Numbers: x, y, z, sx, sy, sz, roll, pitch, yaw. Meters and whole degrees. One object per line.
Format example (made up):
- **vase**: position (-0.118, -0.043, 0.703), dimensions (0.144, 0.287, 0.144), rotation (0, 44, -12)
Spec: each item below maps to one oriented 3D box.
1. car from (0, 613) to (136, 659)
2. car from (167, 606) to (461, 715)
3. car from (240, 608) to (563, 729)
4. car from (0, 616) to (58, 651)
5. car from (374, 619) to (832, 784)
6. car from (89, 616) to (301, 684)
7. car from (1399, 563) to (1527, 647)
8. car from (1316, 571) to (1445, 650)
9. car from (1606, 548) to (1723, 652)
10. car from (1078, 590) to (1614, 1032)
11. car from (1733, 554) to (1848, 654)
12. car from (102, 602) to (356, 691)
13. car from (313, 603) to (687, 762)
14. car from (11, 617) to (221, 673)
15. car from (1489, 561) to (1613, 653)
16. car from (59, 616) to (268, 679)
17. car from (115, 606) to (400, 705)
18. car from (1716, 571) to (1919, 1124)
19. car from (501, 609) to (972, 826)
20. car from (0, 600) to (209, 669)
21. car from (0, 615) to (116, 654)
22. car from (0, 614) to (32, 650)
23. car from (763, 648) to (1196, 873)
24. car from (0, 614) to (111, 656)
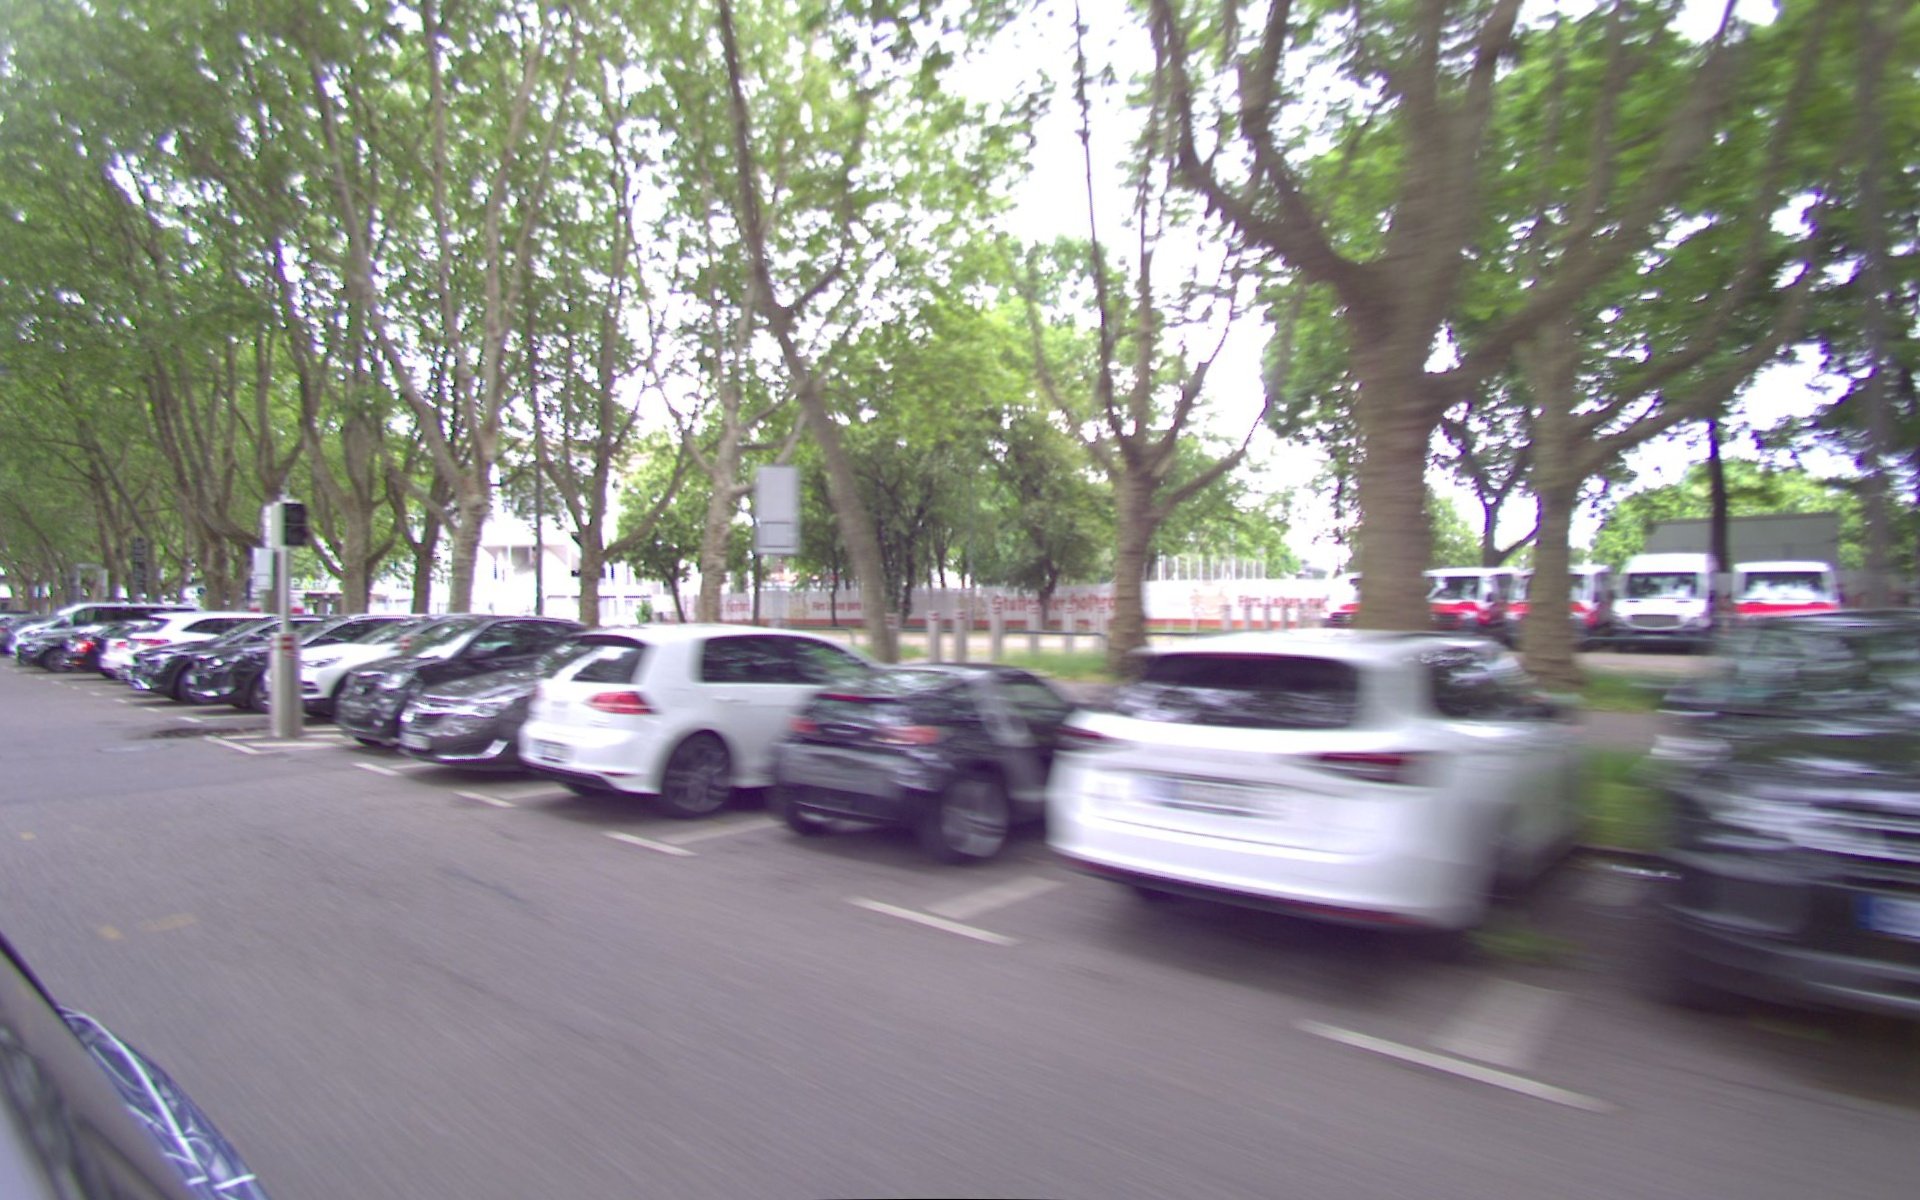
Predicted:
- **car**: position (-34.822, 1.402, 39.081), dimensions (1.998, 1.680, 4.297), rotation (-2, -4, 39)
- **car**: position (-10.809, 0.981, 17.150), dimensions (1.832, 1.620, 3.790), rotation (-2, -3, 38)
- **car**: position (-8.456, 0.978, 15.632), dimensions (1.692, 1.620, 4.005), rotation (-1, -2, 38)
- **car**: position (-45.023, 1.539, 47.033), dimensions (1.998, 1.609, 4.336), rotation (-2, -3, 39)
- **car**: position (-3.498, 0.929, 10.698), dimensions (1.692, 1.375, 4.358), rotation (-1, -3, 38)
- **car**: position (-18.356, 1.193, 24.396), dimensions (1.863, 1.485, 3.718), rotation (-2, -3, 39)
- **car**: position (15.125, 0.100, 30.228), dimensions (1.999, 2.269, 5.940), rotation (-2, 0, 40)
- **car**: position (13.309, 0.264, 31.780), dimensions (1.999, 2.269, 5.940), rotation (-2, 0, 40)
- **car**: position (19.249, -0.031, 27.520), dimensions (1.999, 2.546, 5.940), rotation (-2, 0, 40)
- **car**: position (2.348, 0.792, 5.502), dimensions (1.692, 1.509, 3.790), rotation (-2, -3, 38)
- **car**: position (21.034, 0.061, 25.596), dimensions (1.999, 2.257, 5.940), rotation (-2, 0, 40)
- **car**: position (-14.753, 0.924, 20.583), dimensions (1.950, 1.640, 3.790), rotation (-2, -3, 38)
- **car**: position (-5.418, 0.911, 12.316), dimensions (1.692, 1.620, 3.790), rotation (-2, -3, 38)
- **car**: position (-23.800, 1.257, 28.653), dimensions (1.775, 1.463, 4.398), rotation (-2, -3, 44)
- **car**: position (16.810, 0.140, 28.617), dimensions (1.999, 2.335, 5.940), rotation (-2, 0, 40)
- **car**: position (-20.190, 1.175, 25.799), dimensions (1.536, 1.482, 3.955), rotation (-2, -2, 40)
- **car**: position (-12.832, 0.983, 18.665), dimensions (1.799, 1.620, 4.023), rotation (-2, -3, 43)
- **car**: position (4.335, 0.772, 4.212), dimensions (1.856, 1.621, 3.791), rotation (-1, -3, 37)
- **car**: position (-1.701, 0.855, 8.766), dimensions (1.692, 1.441, 3.790), rotation (-2, -3, 38)
- **car**: position (-27.272, 1.106, 32.389), dimensions (1.917, 2.035, 4.847), rotation (-1, -3, 37)
- **car**: position (-36.418, 1.385, 40.358), dimensions (1.841, 1.487, 3.948), rotation (-2, -4, 39)
- **car**: position (-58.394, 1.890, 59.506), dimensions (1.938, 2.144, 5.381), rotation (-2, -4, 39)
- **car**: position (0.322, 0.984, 7.476), dimensions (1.582, 1.212, 3.284), rotation (-1, -3, 37)
- **car**: position (-38.821, 1.488, 42.660), dimensions (1.998, 1.680, 4.297), rotation (-2, -4, 39)
